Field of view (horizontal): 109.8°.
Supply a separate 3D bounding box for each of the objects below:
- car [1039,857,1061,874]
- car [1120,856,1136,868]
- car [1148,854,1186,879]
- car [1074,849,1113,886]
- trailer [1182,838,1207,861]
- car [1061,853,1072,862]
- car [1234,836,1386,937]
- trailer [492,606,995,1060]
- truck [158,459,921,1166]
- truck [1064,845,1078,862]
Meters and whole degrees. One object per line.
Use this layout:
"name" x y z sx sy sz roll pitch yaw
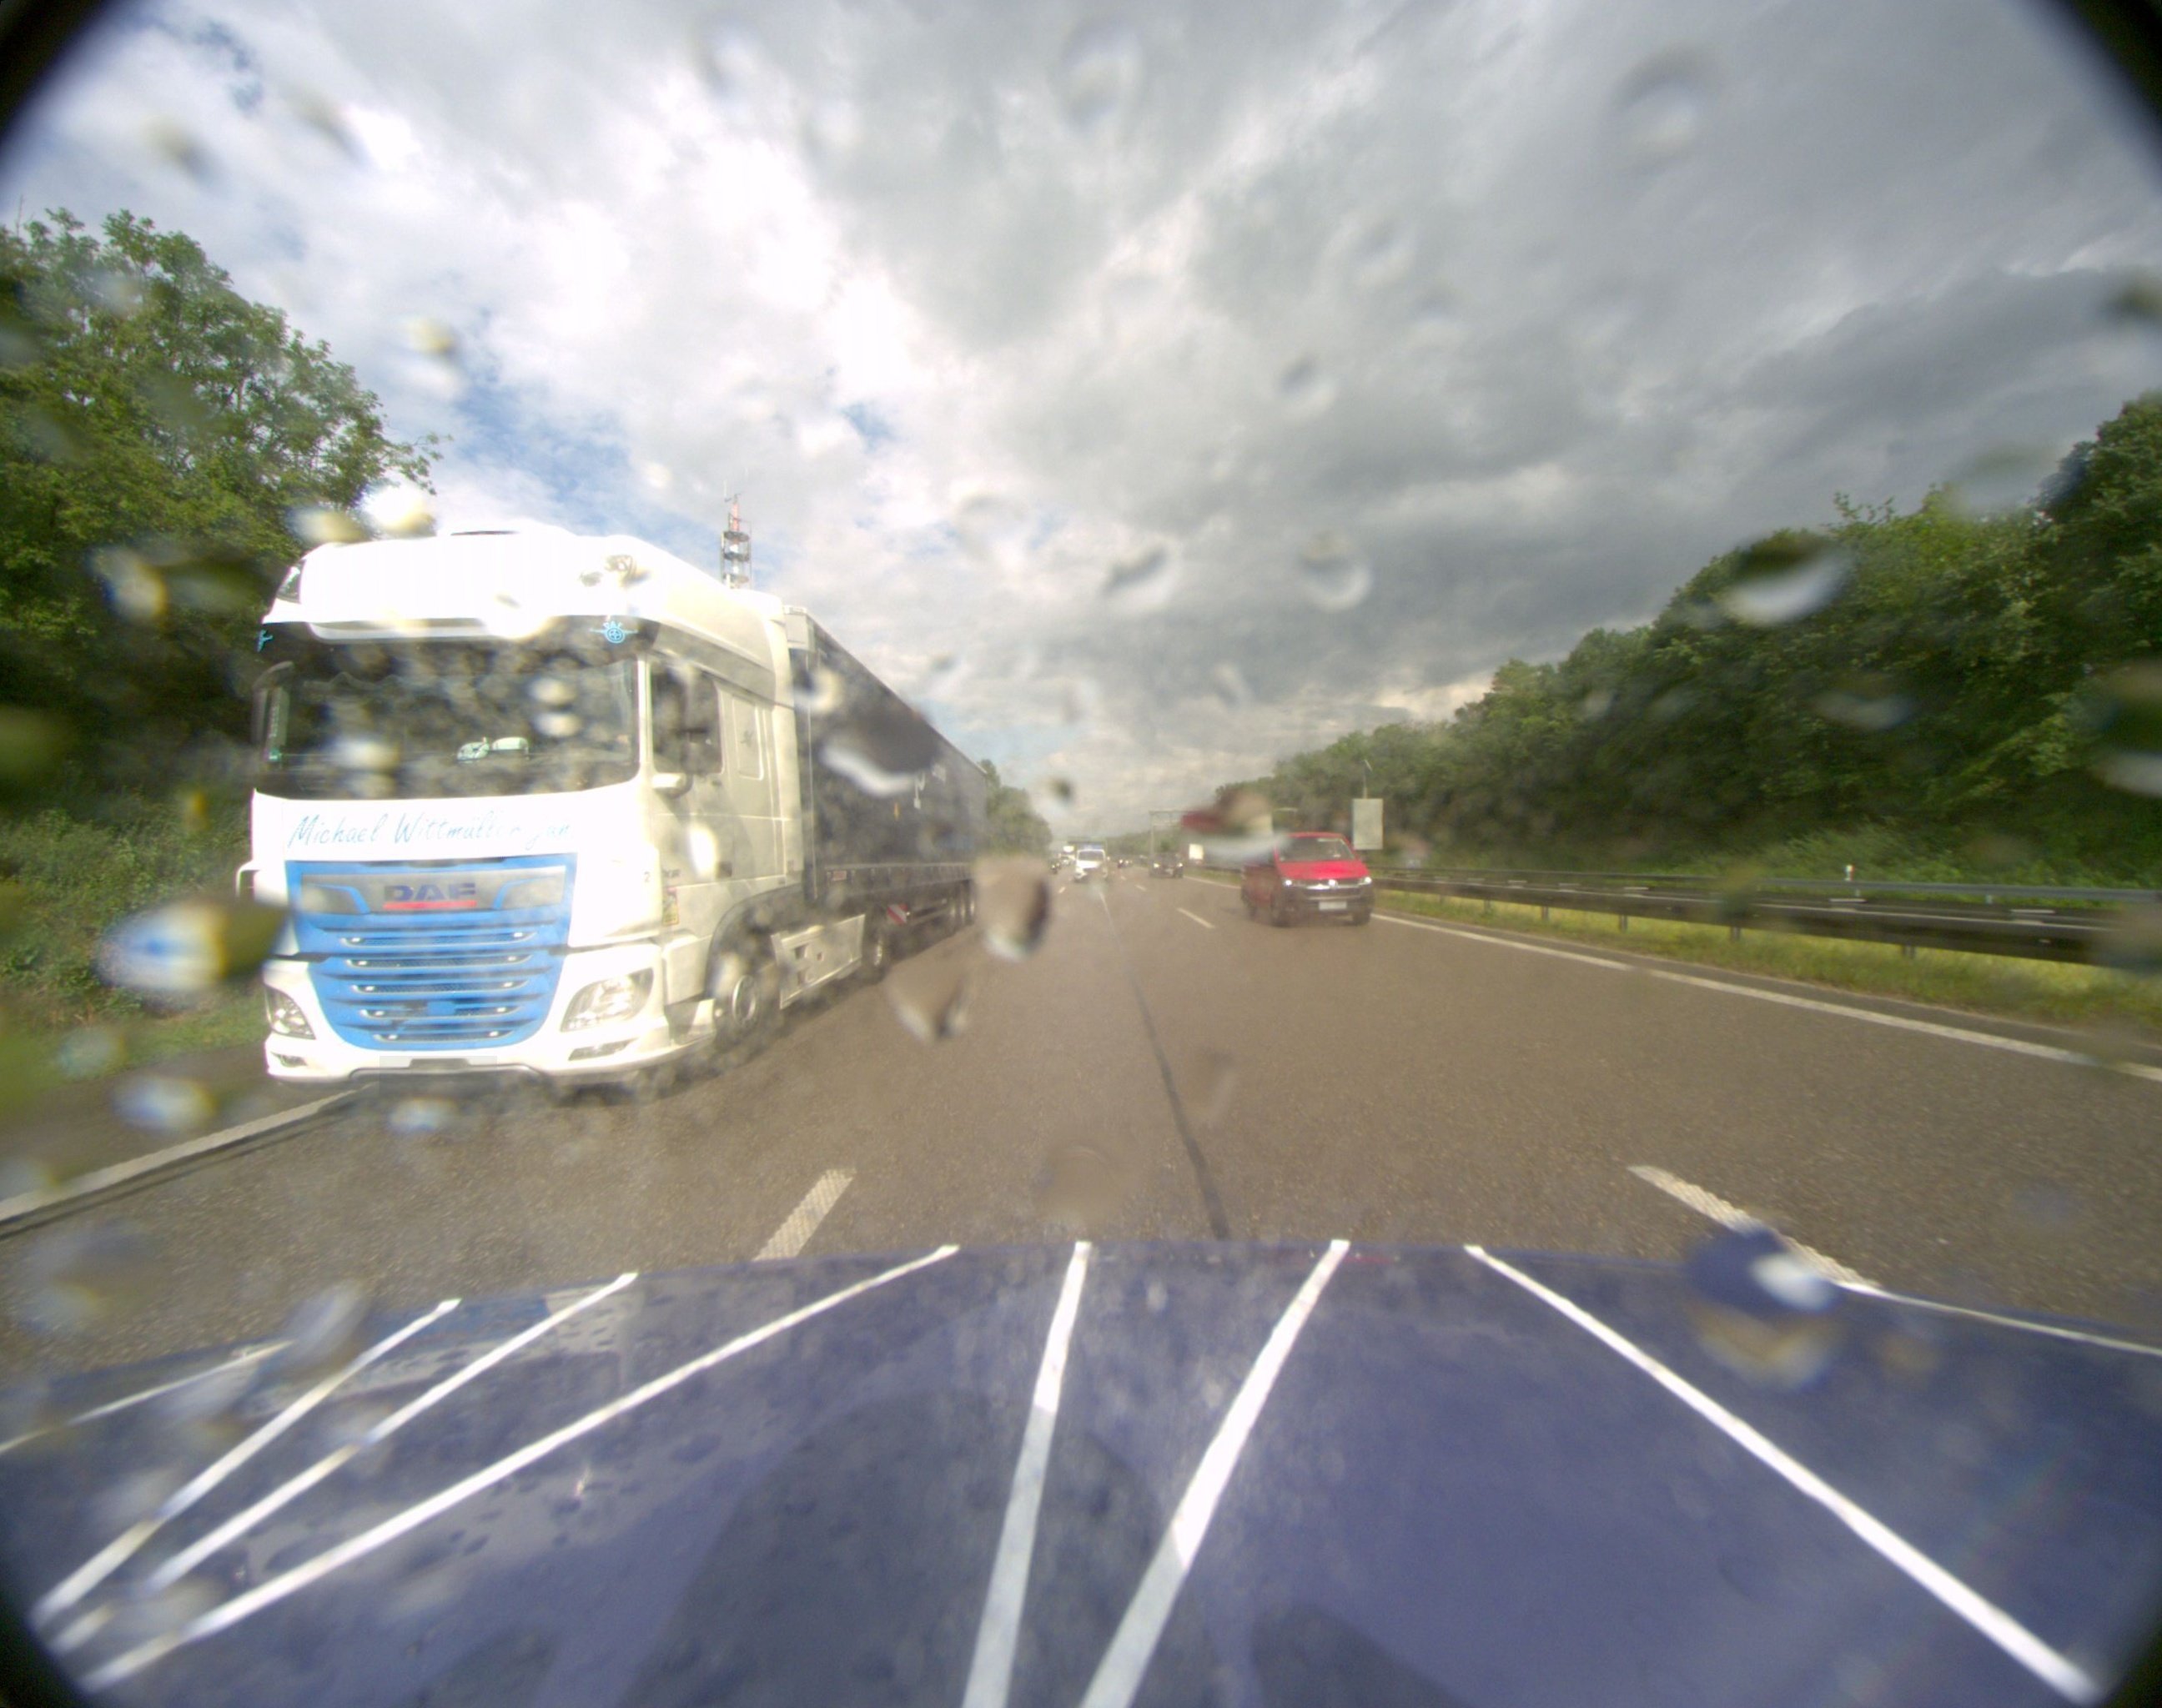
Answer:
"car" -2.983 1.089 73.824 1.798 1.410 4.839 -2 0 1
"car" 6.044 1.017 98.132 1.798 1.410 4.839 -2 0 1
"car" 5.693 0.787 50.666 2.009 1.488 4.839 -2 0 1
"car" 0.731 0.731 45.358 2.124 1.988 5.982 -2 0 1
"trailer" 22.977 -0.932 154.797 2.870 4.347 14.090 -2 0 0
"car" -2.539 0.643 134.193 1.798 1.410 4.839 -2 0 1
"car" 4.851 0.604 16.883 1.926 1.855 4.839 -2 0 1
"trailer" -3.812 -0.222 13.838 2.641 3.972 14.063 -2 0 0
"truck" -3.864 -0.245 8.011 2.613 3.972 7.289 -2 0 0
"truck" -2.332 -0.092 175.437 3.064 3.827 8.799 0 0 0
